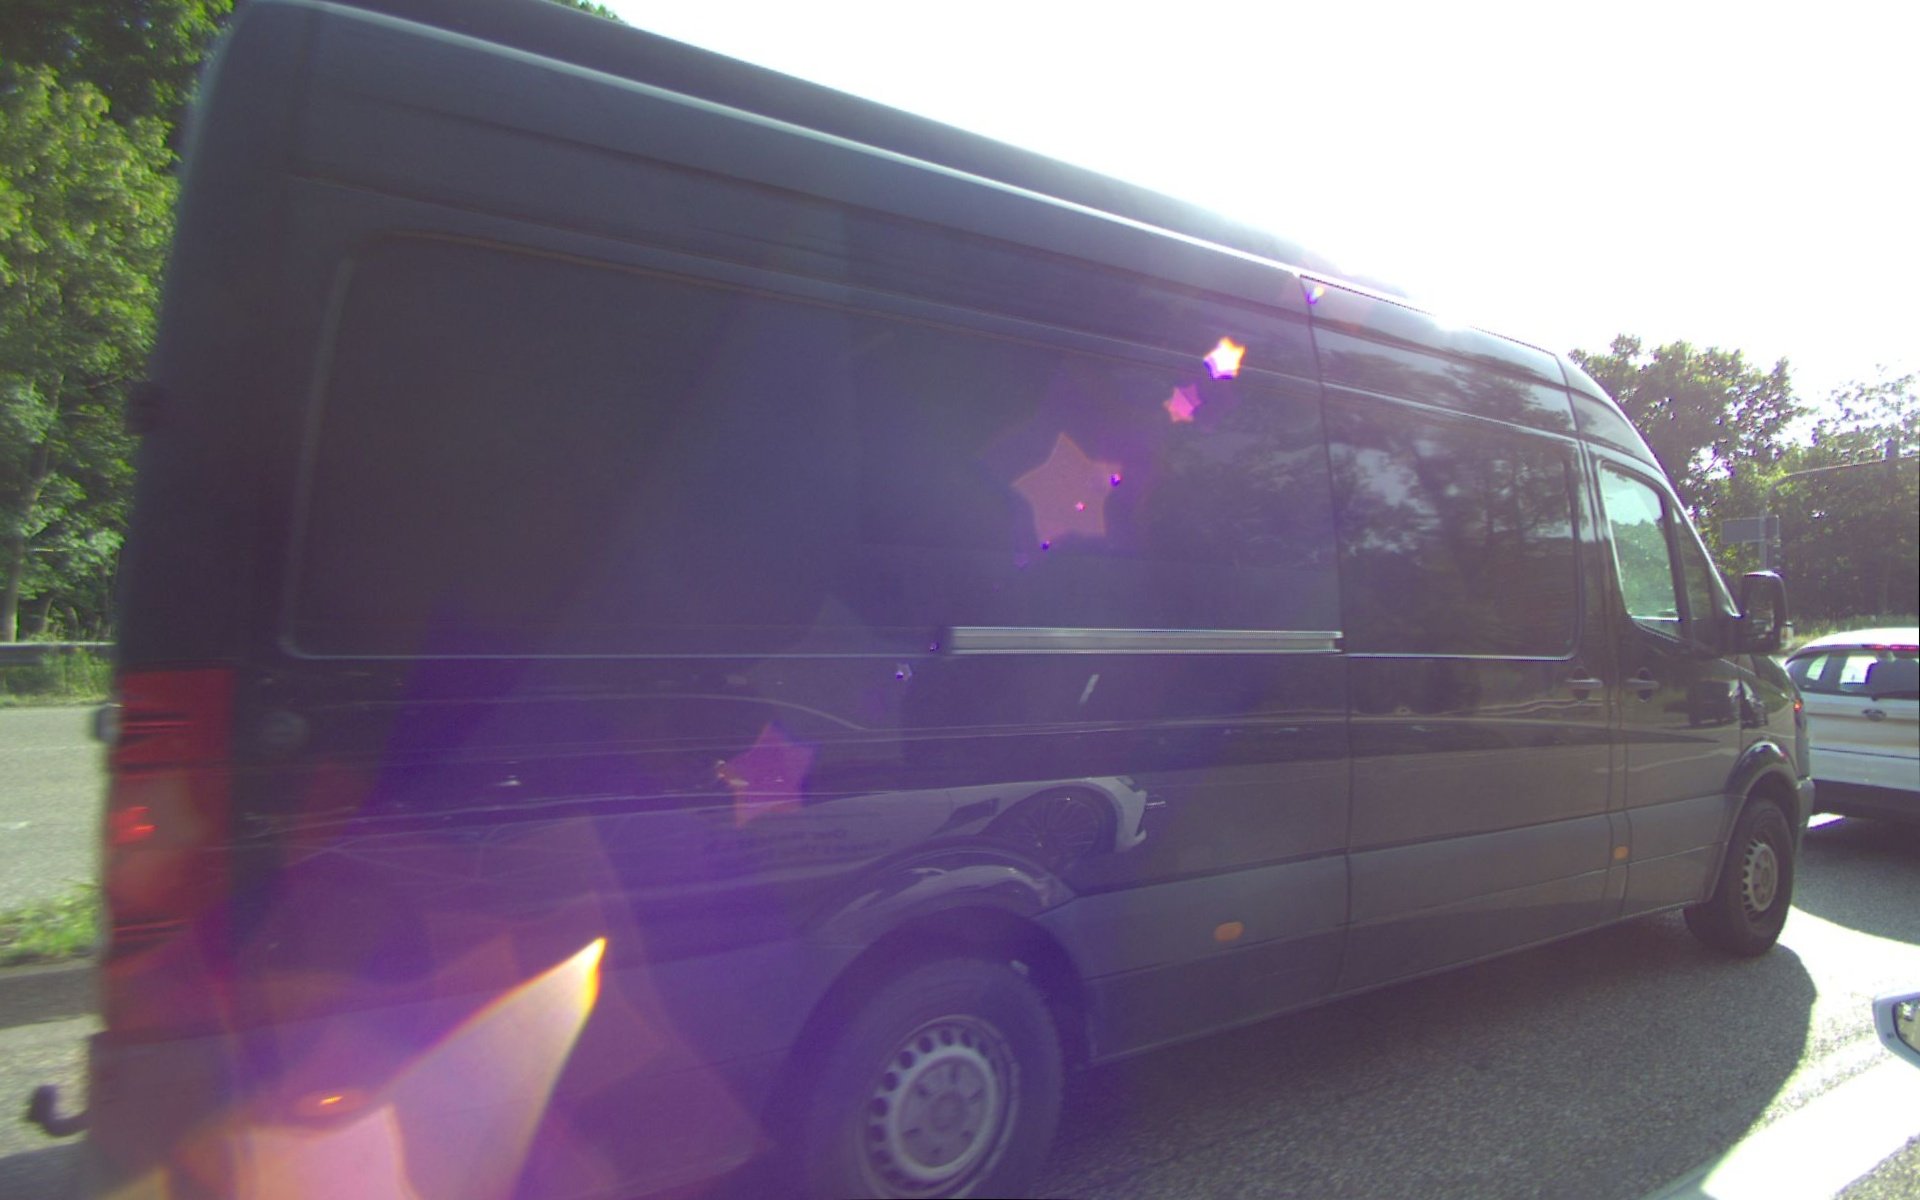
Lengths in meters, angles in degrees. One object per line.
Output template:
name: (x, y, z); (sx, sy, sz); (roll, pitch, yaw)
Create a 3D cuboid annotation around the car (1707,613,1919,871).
car: (7.256, 0.874, 7.144); (4.054, 1.509, 1.638); (1, -1, -30)

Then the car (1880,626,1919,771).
car: (11.896, 1.024, 10.708); (4.744, 1.440, 1.727); (1, -1, -30)

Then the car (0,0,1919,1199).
car: (1.030, 0.096, 4.075); (6.922, 2.927, 2.201); (1, -1, -28)

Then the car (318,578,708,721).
car: (-5.529, 0.588, 12.632); (4.217, 1.523, 1.874); (1, -1, -32)
